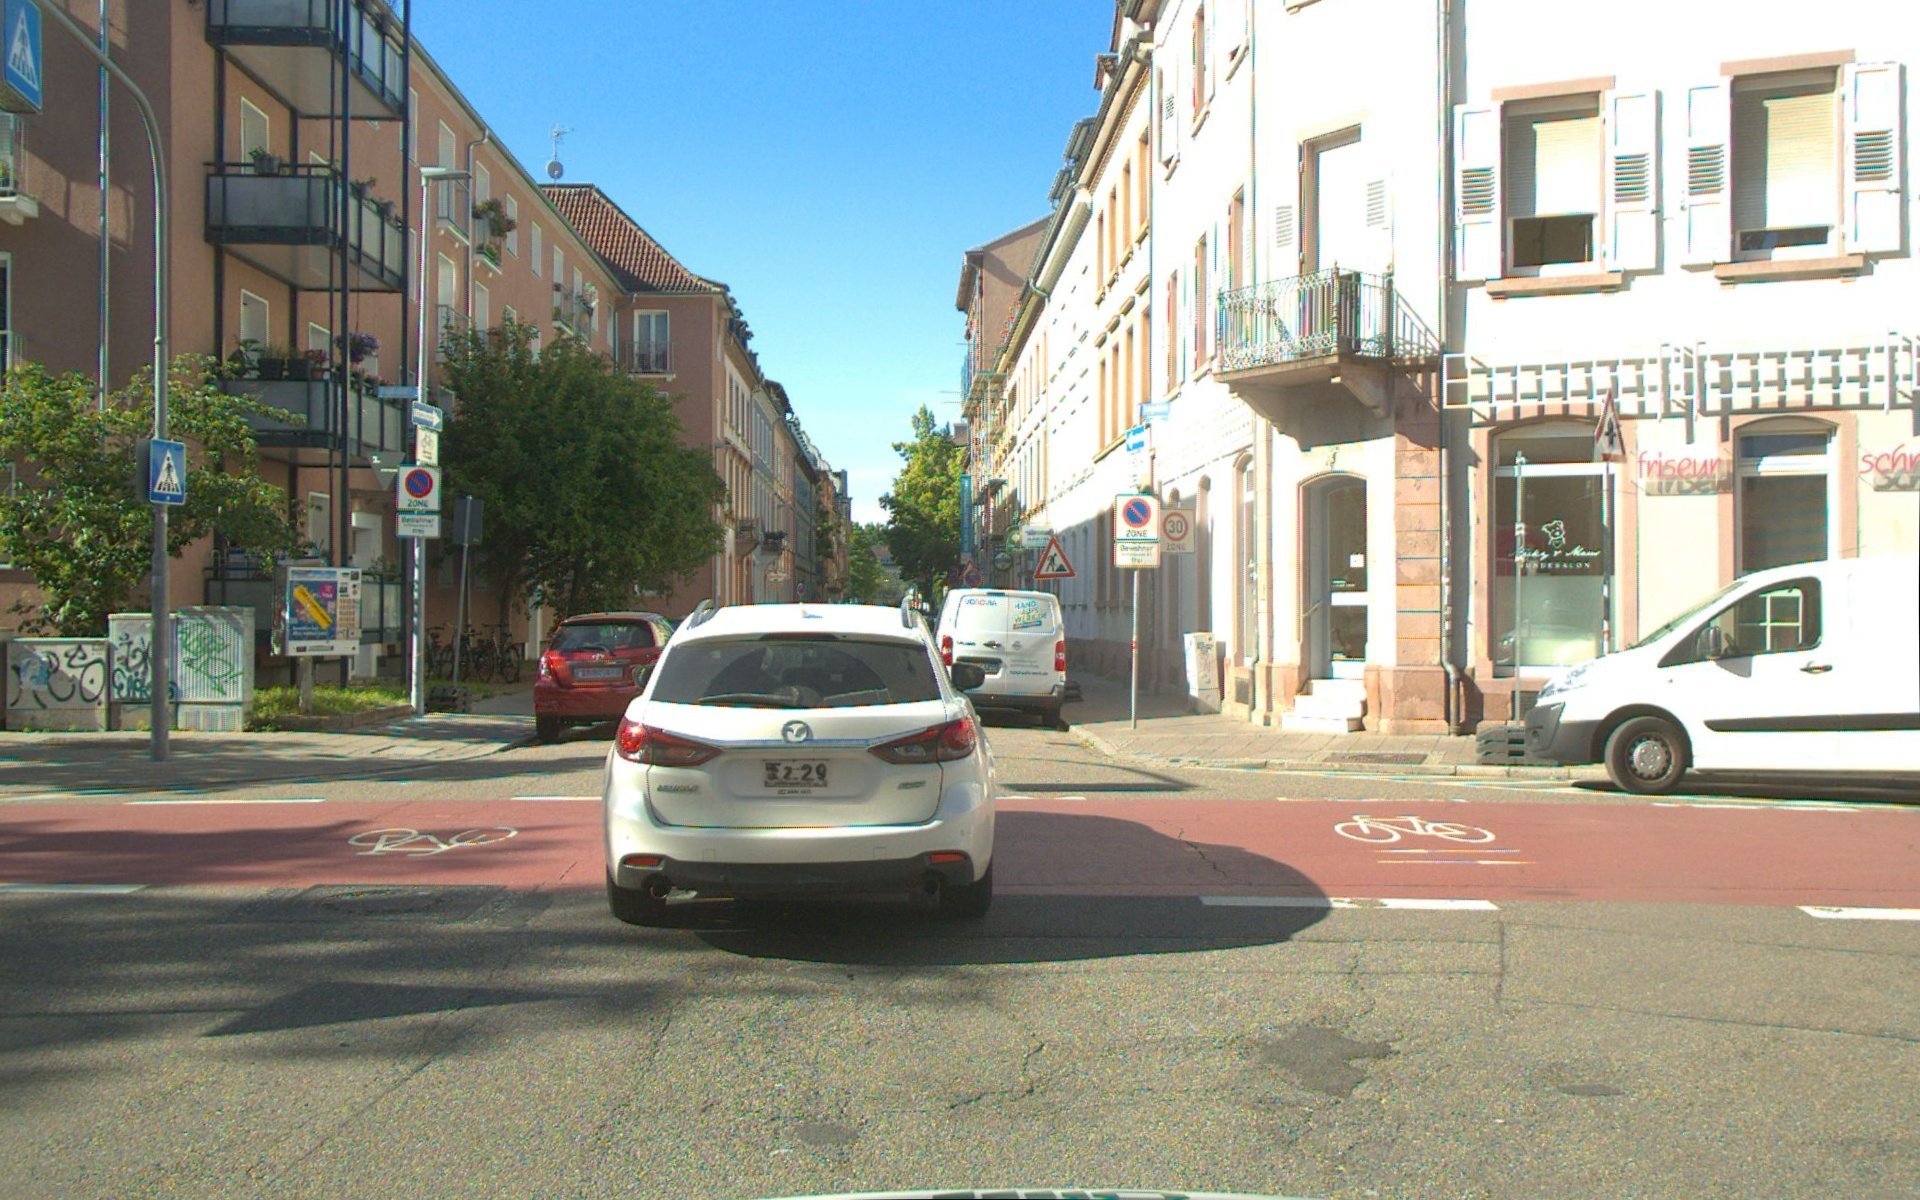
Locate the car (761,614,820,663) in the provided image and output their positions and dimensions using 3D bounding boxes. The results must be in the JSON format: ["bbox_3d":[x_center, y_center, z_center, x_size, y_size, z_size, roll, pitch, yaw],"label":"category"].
[{"bbox_3d":[-5.485,1.219,53.844,1.620,1.526,3.762,0,0,-1],"label":"car"}]

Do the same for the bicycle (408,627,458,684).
[{"bbox_3d":[-10.072,1.053,31.622,1.193,1.053,0.290,0,-1,38],"label":"bicycle"}]

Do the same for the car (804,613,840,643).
[{"bbox_3d":[-7.090,1.422,85.180,1.620,1.526,3.762,0,0,-1],"label":"car"}]

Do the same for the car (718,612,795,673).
[{"bbox_3d":[-5.298,1.089,43.404,1.620,1.526,3.762,0,0,-1],"label":"car"}]

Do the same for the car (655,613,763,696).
[{"bbox_3d":[-4.848,1.014,32.396,1.620,1.526,3.762,0,0,-1],"label":"car"}]

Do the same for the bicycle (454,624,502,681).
[{"bbox_3d":[-9.461,1.029,32.422,1.193,1.090,0.252,0,-1,38],"label":"bicycle"}]

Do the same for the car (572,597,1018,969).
[{"bbox_3d":[-0.709,0.731,8.657,1.794,1.482,3.961,0,0,-1],"label":"car"}]

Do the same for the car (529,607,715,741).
[{"bbox_3d":[-4.263,0.886,21.376,1.651,1.526,3.805,-2,0,-1],"label":"car"}]

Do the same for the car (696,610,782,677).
[{"bbox_3d":[-5.215,0.998,39.447,1.620,1.526,3.762,0,0,-1],"label":"car"}]

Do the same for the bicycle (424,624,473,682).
[{"bbox_3d":[-9.866,1.022,31.890,1.193,1.091,0.265,0,-1,38],"label":"bicycle"}]

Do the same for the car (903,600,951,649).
[{"bbox_3d":[-1.338,0.956,66.257,1.856,1.892,3.993,0,0,-1],"label":"car"}]

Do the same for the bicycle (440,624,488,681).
[{"bbox_3d":[-9.646,1.018,32.176,1.193,1.089,0.252,0,-1,38],"label":"bicycle"}]

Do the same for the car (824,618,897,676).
[{"bbox_3d":[-2.566,1.185,43.390,1.725,1.435,4.326,0,0,-1],"label":"car"}]

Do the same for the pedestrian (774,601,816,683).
[{"bbox_3d":[-3.354,0.850,33.592,0.720,1.642,0.813,0,-1,-14],"label":"pedestrian"}]

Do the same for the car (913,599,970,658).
[{"bbox_3d":[-0.618,0.951,56.481,1.856,1.892,3.994,-1,0,-1],"label":"car"}]

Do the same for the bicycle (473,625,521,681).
[{"bbox_3d":[-9.103,1.032,32.511,1.196,1.090,0.252,0,-1,38],"label":"bicycle"}]

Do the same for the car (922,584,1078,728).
[{"bbox_3d":[0.498,0.785,25.150,1.857,1.892,5.010,2,-1,-4],"label":"car"}]

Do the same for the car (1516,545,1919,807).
[{"bbox_3d":[7.242,0.582,13.647,4.907,1.980,2.050,0,-1,23],"label":"car"}]

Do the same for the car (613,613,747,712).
[{"bbox_3d":[-4.579,0.976,27.522,1.620,1.526,4.078,0,0,-1],"label":"car"}]
